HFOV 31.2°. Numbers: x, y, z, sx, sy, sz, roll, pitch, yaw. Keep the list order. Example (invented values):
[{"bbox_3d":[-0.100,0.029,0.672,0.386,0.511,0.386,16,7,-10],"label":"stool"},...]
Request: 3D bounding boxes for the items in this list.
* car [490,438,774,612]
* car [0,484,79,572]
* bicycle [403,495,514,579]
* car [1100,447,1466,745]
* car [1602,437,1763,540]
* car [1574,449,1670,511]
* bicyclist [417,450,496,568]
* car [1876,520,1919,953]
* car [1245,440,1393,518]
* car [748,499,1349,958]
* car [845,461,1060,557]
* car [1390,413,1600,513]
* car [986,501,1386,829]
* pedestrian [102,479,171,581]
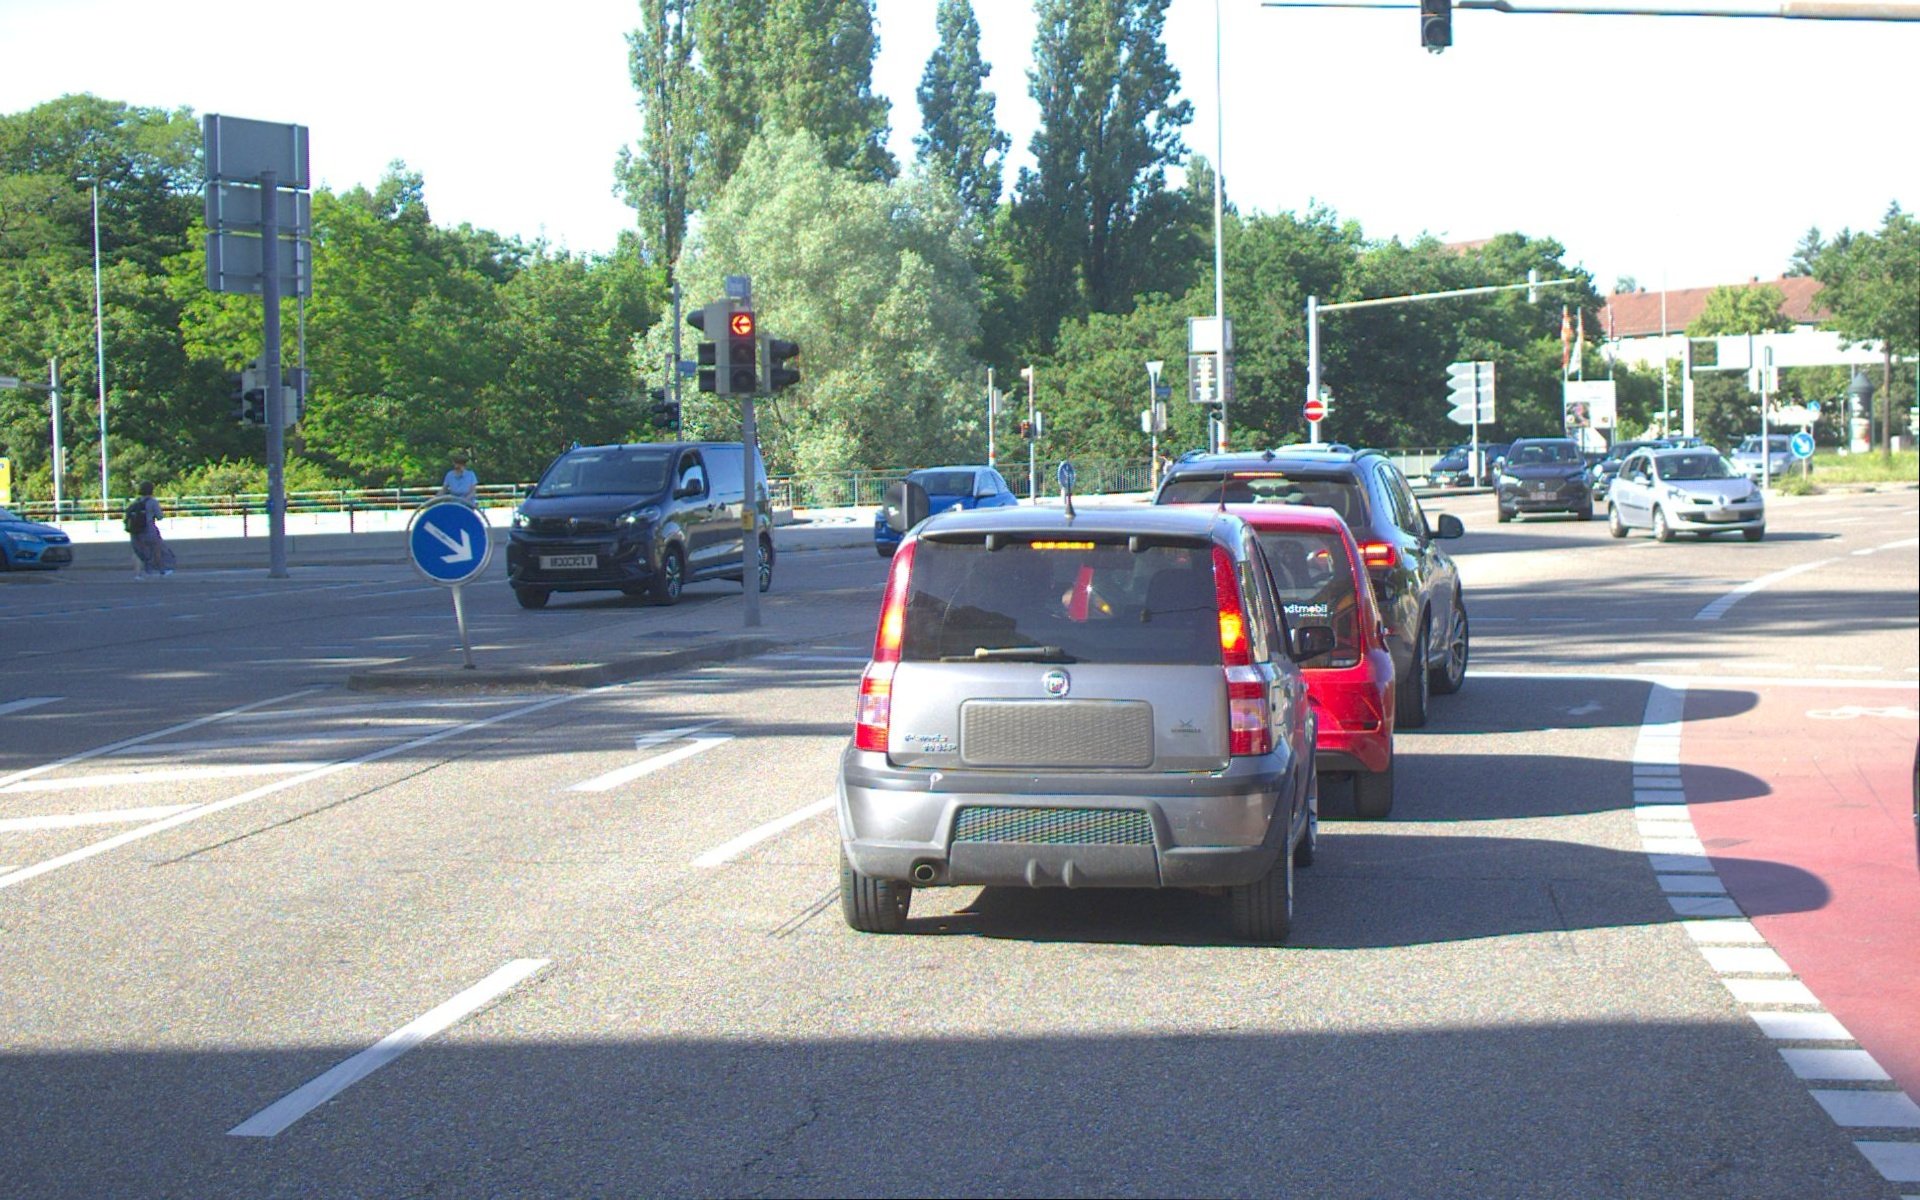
[{"bbox_3d":[-3.833,-0.946,41.158,1.994,1.928,4.850,-1,2,12],"label":"car"},{"bbox_3d":[-17.460,-1.210,58.691,4.441,1.433,1.824,-1,2,22],"label":"car"},{"bbox_3d":[-7.326,-0.934,50.344,0.687,1.198,2.325,0,2,16],"label":"bicycle"},{"bbox_3d":[2.270,-0.124,23.093,1.870,1.784,4.412,1,3,13],"label":"car"},{"bbox_3d":[11.714,-1.829,55.961,1.820,1.577,4.104,-1,2,1],"label":"car"},{"bbox_3d":[16.238,-2.936,84.197,1.995,1.448,3.998,-1,2,15],"label":"car"},{"bbox_3d":[-7.354,-1.328,50.262,0.687,1.695,1.197,0,2,16],"label":"bicyclist"},{"bbox_3d":[5.000,0.447,13.092,1.754,1.488,3.993,2,2,33],"label":"car"},{"bbox_3d":[8.175,-2.761,77.945,1.836,1.647,4.623,0,2,26],"label":"car"},{"bbox_3d":[0.507,0.367,13.474,1.821,1.484,3.999,0,2,9],"label":"car"},{"bbox_3d":[-0.071,-1.553,57.996,1.822,1.498,4.445,0,2,26],"label":"car"},{"bbox_3d":[10.772,-2.739,69.526,1.993,1.829,4.361,0,0,-28],"label":"car"},{"bbox_3d":[1.271,0.244,17.710,1.820,1.474,3.999,0,2,7],"label":"car"},{"bbox_3d":[-12.607,-1.068,52.643,0.686,1.533,1.366,0,0,2],"label":"pedestrian"}]
